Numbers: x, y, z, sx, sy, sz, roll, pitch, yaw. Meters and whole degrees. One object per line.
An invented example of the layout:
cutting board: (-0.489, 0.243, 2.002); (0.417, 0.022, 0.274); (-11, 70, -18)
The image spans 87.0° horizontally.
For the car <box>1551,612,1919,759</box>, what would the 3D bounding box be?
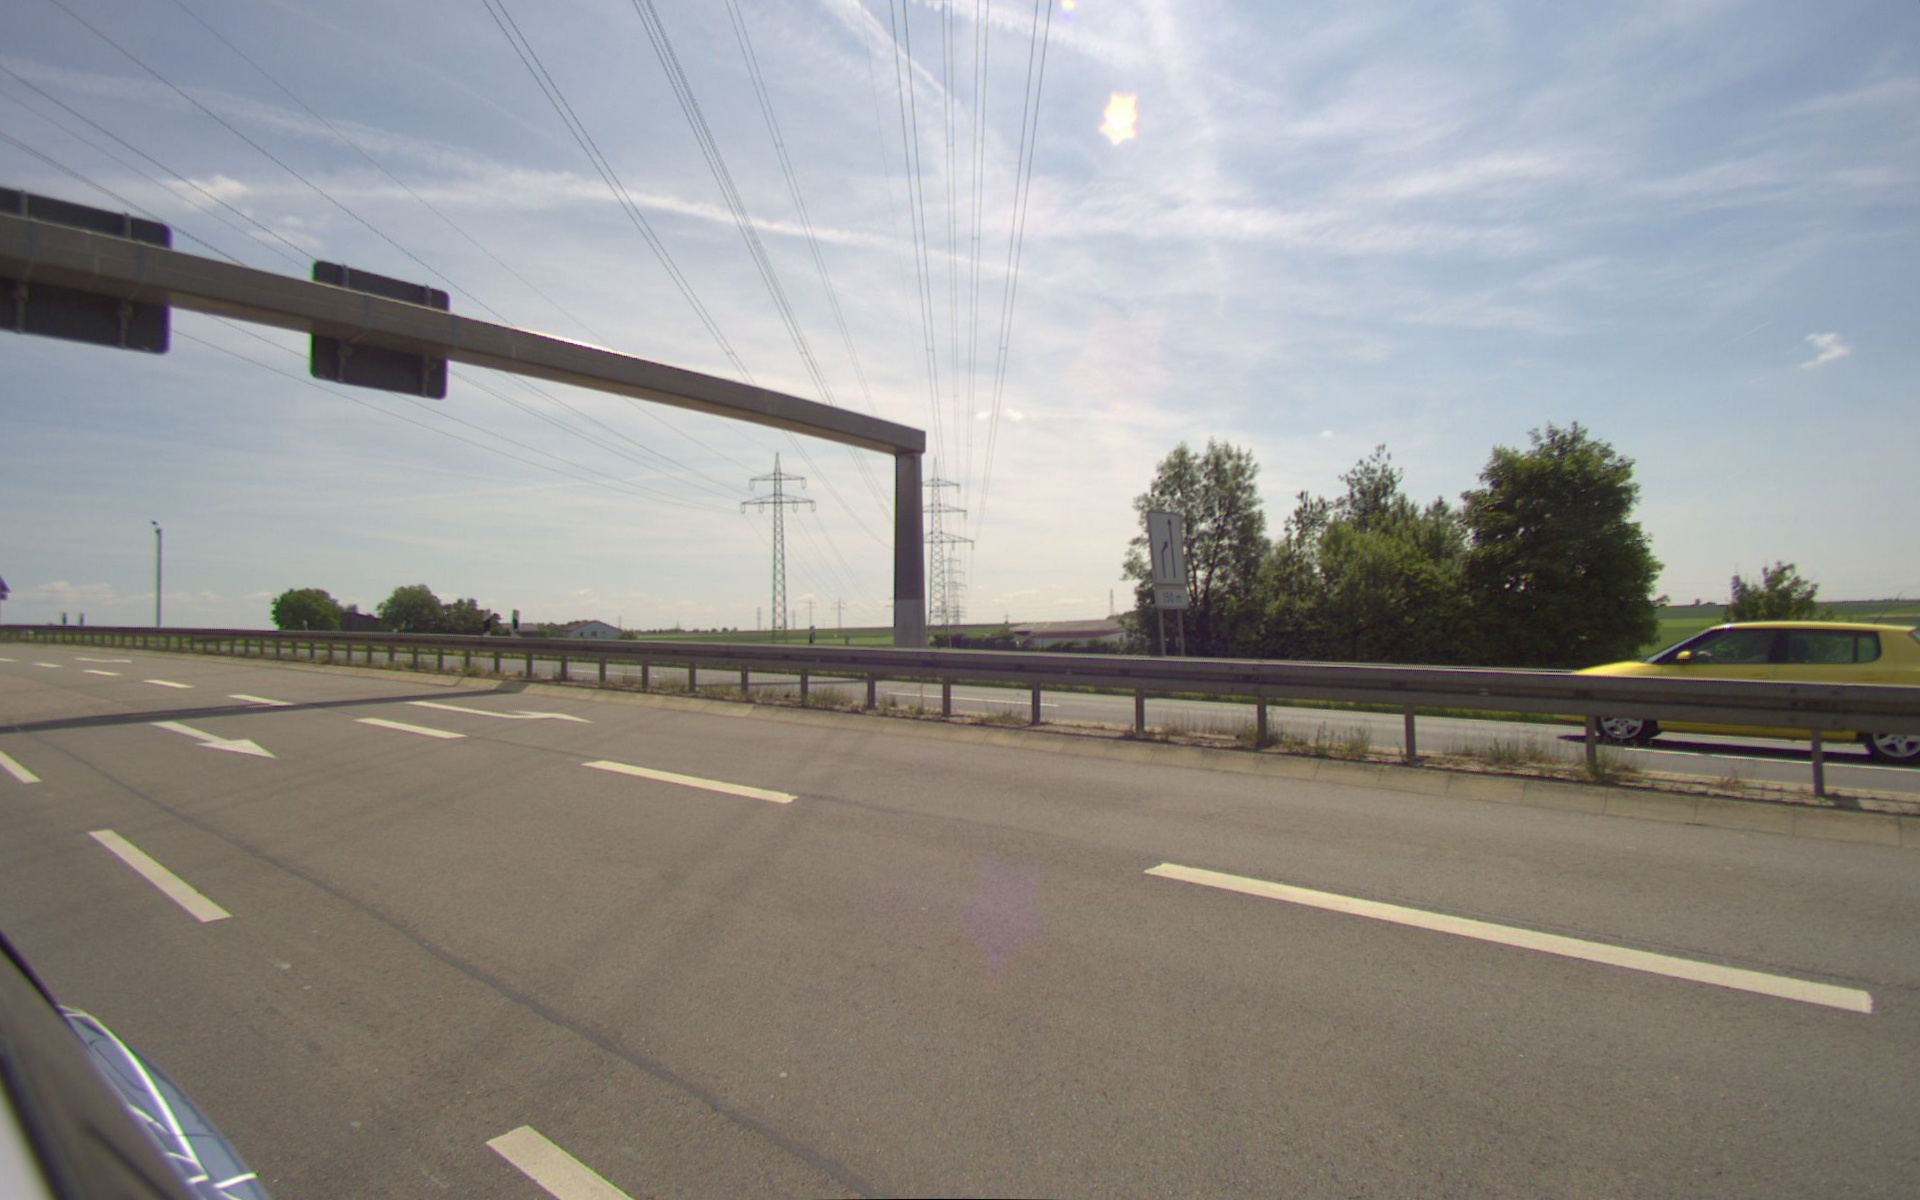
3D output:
car: (9.119, 0.927, 11.765); (3.701, 1.492, 1.498); (-1, -4, 40)
